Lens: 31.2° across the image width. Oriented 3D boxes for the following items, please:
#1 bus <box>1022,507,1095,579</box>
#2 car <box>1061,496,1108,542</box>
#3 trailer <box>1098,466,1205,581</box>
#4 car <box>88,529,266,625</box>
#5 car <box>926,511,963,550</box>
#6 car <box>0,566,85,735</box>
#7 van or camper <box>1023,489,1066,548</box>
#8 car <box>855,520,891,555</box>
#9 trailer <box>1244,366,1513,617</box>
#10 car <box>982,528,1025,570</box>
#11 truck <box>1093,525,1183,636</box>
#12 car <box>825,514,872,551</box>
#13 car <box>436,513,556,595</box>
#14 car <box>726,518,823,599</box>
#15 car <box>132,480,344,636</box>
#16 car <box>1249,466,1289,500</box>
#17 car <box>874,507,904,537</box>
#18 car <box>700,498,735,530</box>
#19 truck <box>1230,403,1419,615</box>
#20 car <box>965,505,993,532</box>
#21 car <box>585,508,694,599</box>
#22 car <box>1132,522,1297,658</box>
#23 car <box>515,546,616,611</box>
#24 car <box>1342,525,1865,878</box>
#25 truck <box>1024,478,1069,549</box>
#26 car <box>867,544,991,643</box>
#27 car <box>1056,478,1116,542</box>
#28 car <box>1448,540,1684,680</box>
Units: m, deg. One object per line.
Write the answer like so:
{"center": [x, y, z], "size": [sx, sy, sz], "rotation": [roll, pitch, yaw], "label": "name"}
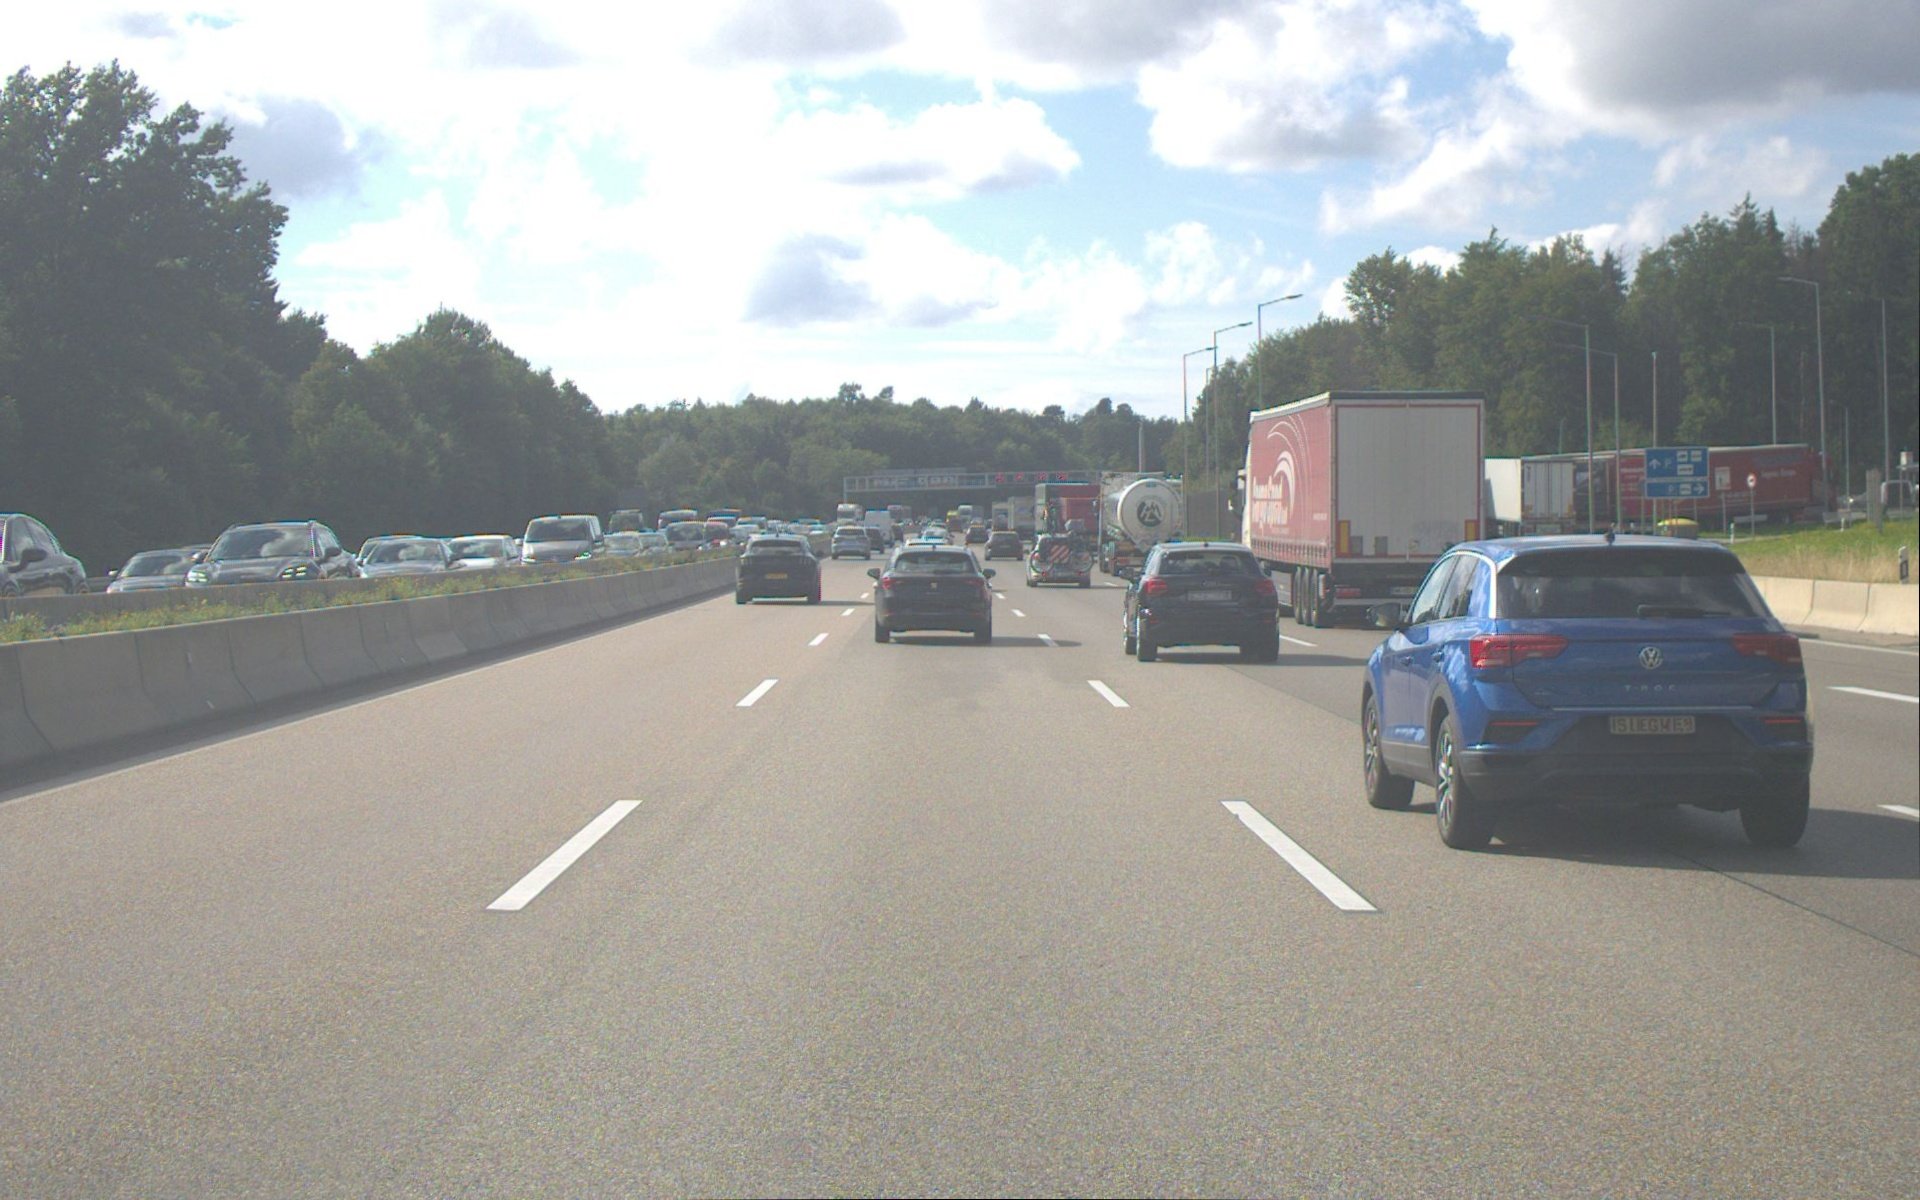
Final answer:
{"center": [2.874, -1.658, 100.979], "size": [1.993, 2.007, 4.000], "rotation": [1, 0, 0], "label": "bus"}
{"center": [5.841, -3.770, 161.264], "size": [1.993, 2.007, 4.000], "rotation": [1, 0, -1], "label": "car"}
{"center": [6.933, -2.709, 126.108], "size": [3.036, 4.002, 12.246], "rotation": [0, 0, -1], "label": "trailer"}
{"center": [-13.599, -0.370, 59.983], "size": [1.993, 1.590, 4.524], "rotation": [1, 0, 1], "label": "car"}
{"center": [-0.861, -3.787, 189.217], "size": [1.993, 2.007, 4.000], "rotation": [-1, 0, -1], "label": "car"}
{"center": [-10.137, 0.463, 34.229], "size": [1.836, 1.585, 4.289], "rotation": [1, 1, -1], "label": "car"}
{"center": [4.787, -4.632, 195.903], "size": [2.351, 3.133, 5.710], "rotation": [1, 0, 1], "label": "van or camper"}
{"center": [-5.081, -3.639, 200.810], "size": [1.993, 2.007, 4.000], "rotation": [1, 1, -1], "label": "car"}
{"center": [7.343, -1.721, 62.610], "size": [3.038, 4.021, 13.890], "rotation": [1, 0, -1], "label": "trailer"}
{"center": [2.134, -2.517, 169.574], "size": [1.993, 2.007, 4.000], "rotation": [1, 0, -1], "label": "car"}
{"center": [6.820, -0.738, 132.386], "size": [3.045, 4.146, 7.127], "rotation": [0, 0, 0], "label": "truck"}
{"center": [-5.564, -3.352, 172.024], "size": [2.154, 1.770, 4.000], "rotation": [1, 0, 0], "label": "car"}
{"center": [-10.290, -1.041, 76.553], "size": [1.993, 1.729, 5.091], "rotation": [1, 1, -1], "label": "car"}
{"center": [-4.260, -0.971, 79.402], "size": [1.993, 1.770, 4.000], "rotation": [1, 1, 0], "label": "car"}
{"center": [-9.853, -0.586, 47.235], "size": [1.882, 2.007, 4.519], "rotation": [1, 1, 1], "label": "car"}
{"center": [19.032, -7.203, 211.938], "size": [1.993, 2.007, 4.000], "rotation": [-1, 1, -1], "label": "car"}
{"center": [-4.955, -5.424, 239.588], "size": [1.993, 2.007, 4.000], "rotation": [-1, 1, -1], "label": "car"}
{"center": [-15.931, -5.629, 226.177], "size": [1.993, 2.007, 4.000], "rotation": [-1, 1, -1], "label": "car"}
{"center": [7.270, -1.746, 69.357], "size": [3.080, 4.050, 6.070], "rotation": [1, 0, -1], "label": "truck"}
{"center": [1.427, -6.126, 258.983], "size": [1.993, 2.007, 4.000], "rotation": [1, 1, -1], "label": "car"}
{"center": [-7.023, -1.039, 75.662], "size": [1.993, 1.914, 4.000], "rotation": [1, 2, 1], "label": "car"}
{"center": [3.227, -0.136, 44.244], "size": [1.799, 1.639, 4.000], "rotation": [1, 0, 0], "label": "car"}
{"center": [-10.207, -0.581, 89.298], "size": [1.993, 1.567, 4.815], "rotation": [0, 1, 1], "label": "car"}
{"center": [3.254, 0.422, 18.352], "size": [1.924, 1.536, 4.646], "rotation": [2, 2, 1], "label": "car"}
{"center": [4.717, -4.692, 188.990], "size": [2.358, 3.560, 11.266], "rotation": [1, 0, 1], "label": "truck"}
{"center": [-0.496, -0.122, 51.647], "size": [1.734, 1.360, 4.001], "rotation": [1, 1, -2], "label": "car"}
{"center": [6.261, -4.486, 171.671], "size": [2.866, 2.981, 5.149], "rotation": [1, 0, 1], "label": "car"}
{"center": [6.871, 0.096, 39.389], "size": [1.715, 1.506, 4.302], "rotation": [-1, 0, -3], "label": "car"}
